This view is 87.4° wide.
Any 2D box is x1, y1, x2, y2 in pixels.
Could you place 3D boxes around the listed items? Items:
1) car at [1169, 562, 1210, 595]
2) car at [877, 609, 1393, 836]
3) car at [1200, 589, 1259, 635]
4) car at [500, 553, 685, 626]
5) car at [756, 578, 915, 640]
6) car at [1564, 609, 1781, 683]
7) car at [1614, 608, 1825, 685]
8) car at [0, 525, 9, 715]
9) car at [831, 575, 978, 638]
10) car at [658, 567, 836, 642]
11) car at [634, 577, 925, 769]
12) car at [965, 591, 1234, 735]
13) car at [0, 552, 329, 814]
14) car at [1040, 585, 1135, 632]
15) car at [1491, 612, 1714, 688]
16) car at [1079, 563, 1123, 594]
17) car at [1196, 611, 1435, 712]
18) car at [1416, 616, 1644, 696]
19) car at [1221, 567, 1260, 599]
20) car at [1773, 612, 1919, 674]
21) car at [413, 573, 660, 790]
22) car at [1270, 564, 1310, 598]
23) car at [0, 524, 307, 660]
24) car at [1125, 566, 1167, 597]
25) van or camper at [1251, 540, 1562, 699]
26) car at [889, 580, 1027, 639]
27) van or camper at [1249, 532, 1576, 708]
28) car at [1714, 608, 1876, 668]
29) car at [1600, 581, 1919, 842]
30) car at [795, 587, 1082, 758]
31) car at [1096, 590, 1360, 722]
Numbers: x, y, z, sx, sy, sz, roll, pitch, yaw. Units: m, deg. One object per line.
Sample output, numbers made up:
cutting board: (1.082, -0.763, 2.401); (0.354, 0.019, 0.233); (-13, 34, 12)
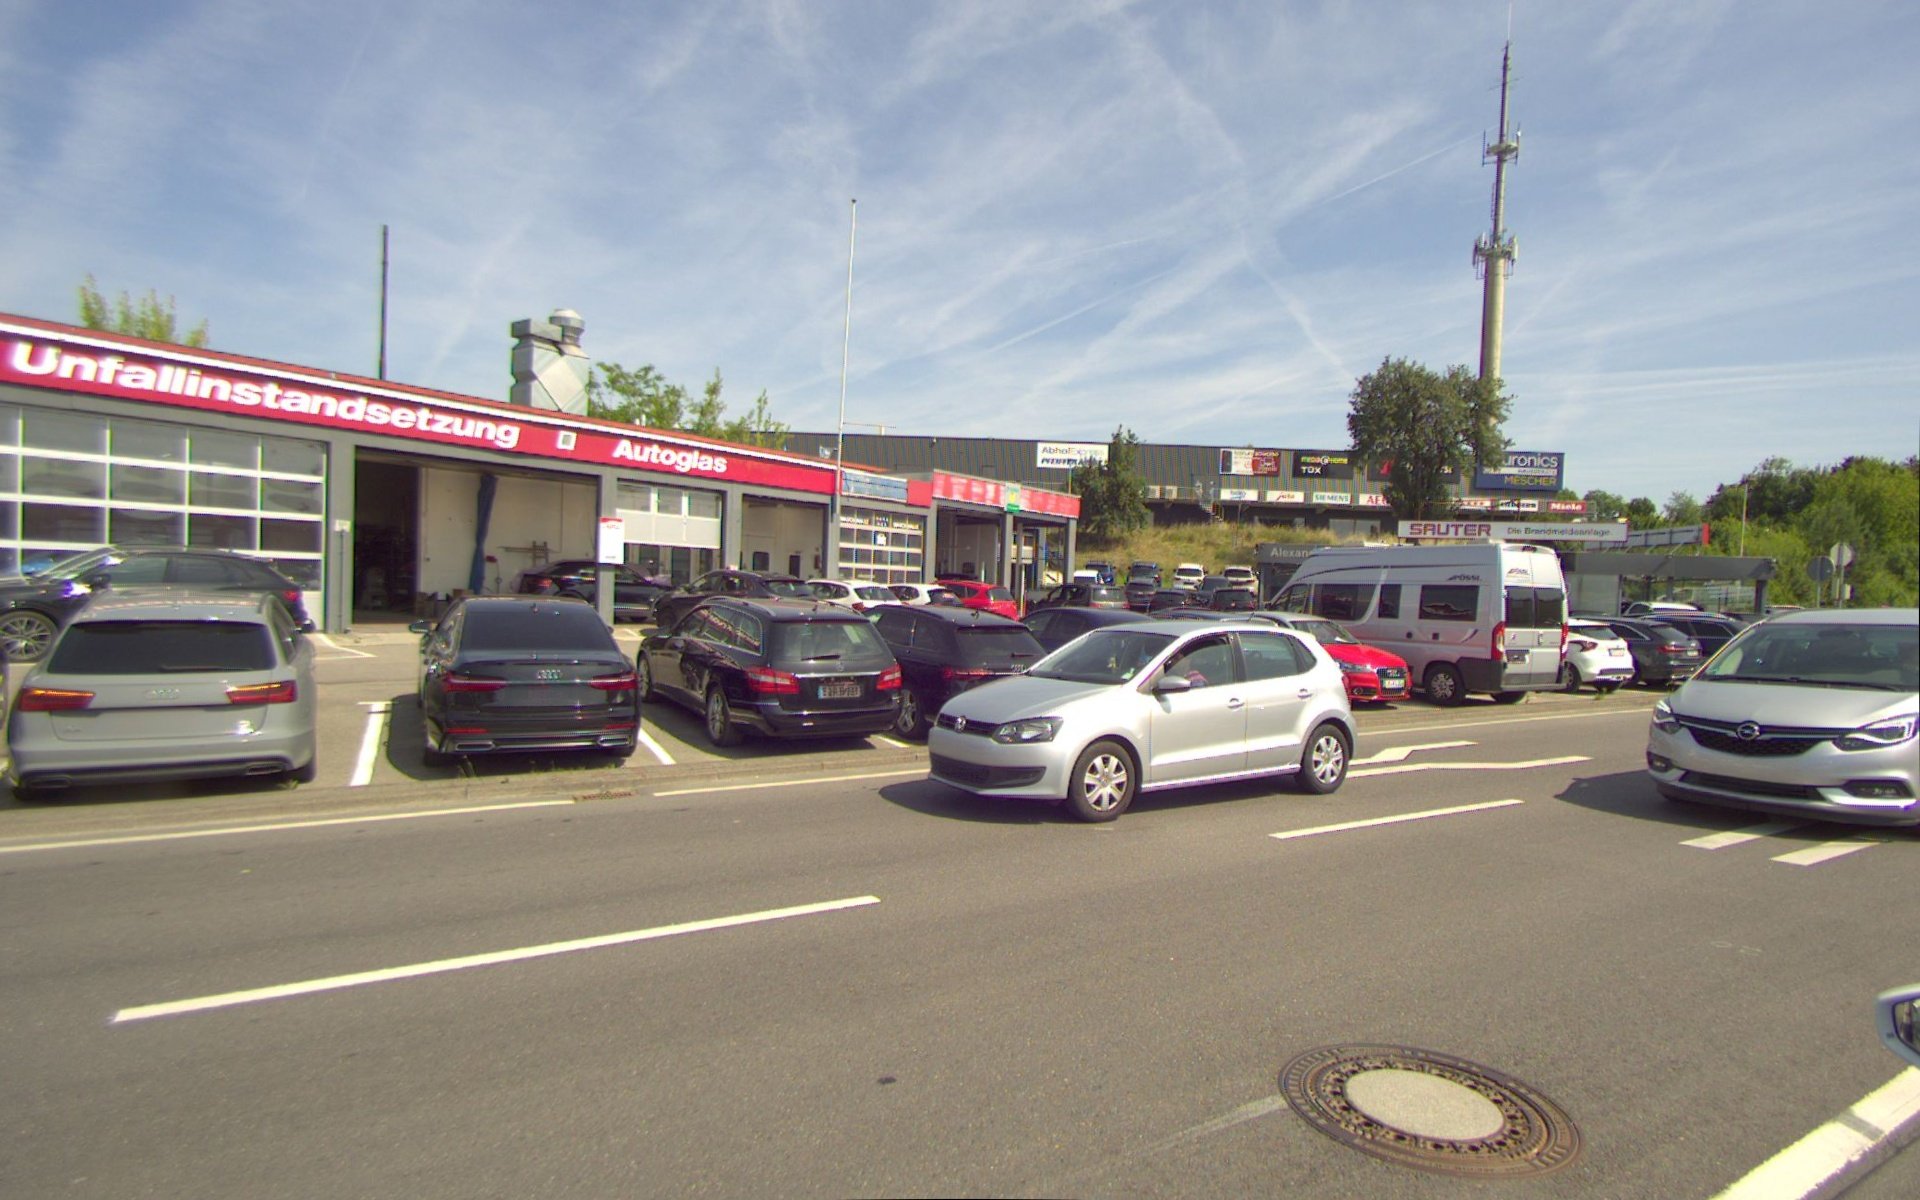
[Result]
car: (12.051, -1.116, 52.670); (1.702, 1.558, 3.750); (2, 0, 18)
car: (1.521, 0.852, 8.409); (4.033, 1.467, 1.828); (1, 0, -30)
car: (10.131, 0.443, 37.942); (1.733, 1.609, 3.831); (1, 0, 9)
car: (-9.266, -0.225, 25.506); (3.987, 1.694, 1.887); (1, 0, -43)
car: (-3.151, 0.195, 25.084); (3.767, 1.451, 1.763); (1, 0, 36)
car: (16.732, 1.022, 23.758); (1.822, 1.560, 3.796); (1, 0, -31)
car: (18.727, 1.095, 24.924); (1.822, 1.697, 3.796); (1, 0, -31)
car: (-8.688, 0.303, 7.277); (1.786, 1.740, 3.865); (1, 4, -31)
car: (-1.564, 0.162, 27.628); (3.767, 1.609, 1.763); (1, 0, 36)
car: (-4.820, 0.080, 22.539); (3.887, 1.553, 1.763); (1, 0, 36)
car: (-2.293, 0.652, 11.592); (1.752, 1.505, 4.433); (1, 4, -32)
car: (1.770, 0.728, 13.840); (1.689, 1.577, 3.686); (0, 3, -32)
car: (-6.519, 0.464, 8.641); (1.816, 1.505, 4.252); (1, 4, -32)
car: (4.556, 0.304, 36.475); (1.744, 1.609, 3.808); (1, 0, -23)
car: (14.233, 1.055, 22.447); (1.822, 1.467, 3.796); (1, 0, -31)
car: (7.597, -1.126, 53.875); (1.702, 1.470, 3.750); (2, 0, 18)
car: (5.958, 0.961, 17.206); (1.791, 1.500, 3.577); (1, 0, -30)
car: (11.954, 1.113, 21.288); (1.822, 1.467, 3.796); (1, 0, -31)
car: (14.400, -0.848, 51.481); (1.702, 1.470, 3.750); (2, 0, 18)
car: (28.072, 1.278, 31.082); (2.090, 1.716, 4.528); (1, 0, 0)
car: (-4.516, 0.623, 10.299); (1.777, 1.505, 4.276); (1, 4, -30)
car: (15.594, -0.876, 47.519); (1.702, 1.470, 3.750); (2, 0, 18)
car: (-12.495, -0.110, 15.036); (1.797, 1.696, 4.116); (8, 3, 34)
car: (9.906, -0.973, 53.329); (1.702, 1.470, 3.750); (2, 0, 18)
van or camper: (9.235, 0.312, 21.467); (2.262, 2.912, 5.864); (0, 1, -30)
car: (-0.093, 0.256, 29.672); (3.767, 1.609, 1.763); (1, 0, 36)
van or camper: (8.087, 0.296, 18.595); (2.184, 2.768, 5.221); (1, 0, -29)
car: (25.885, 1.133, 31.324); (1.807, 1.716, 3.828); (1, 0, -2)
car: (7.436, 0.778, 8.376); (4.131, 1.685, 1.900); (1, -1, -30)
car: (-0.433, 0.746, 12.416); (1.782, 1.505, 3.822); (1, 4, -32)
car: (3.951, 0.744, 15.371); (1.689, 1.505, 3.686); (1, 4, -32)
